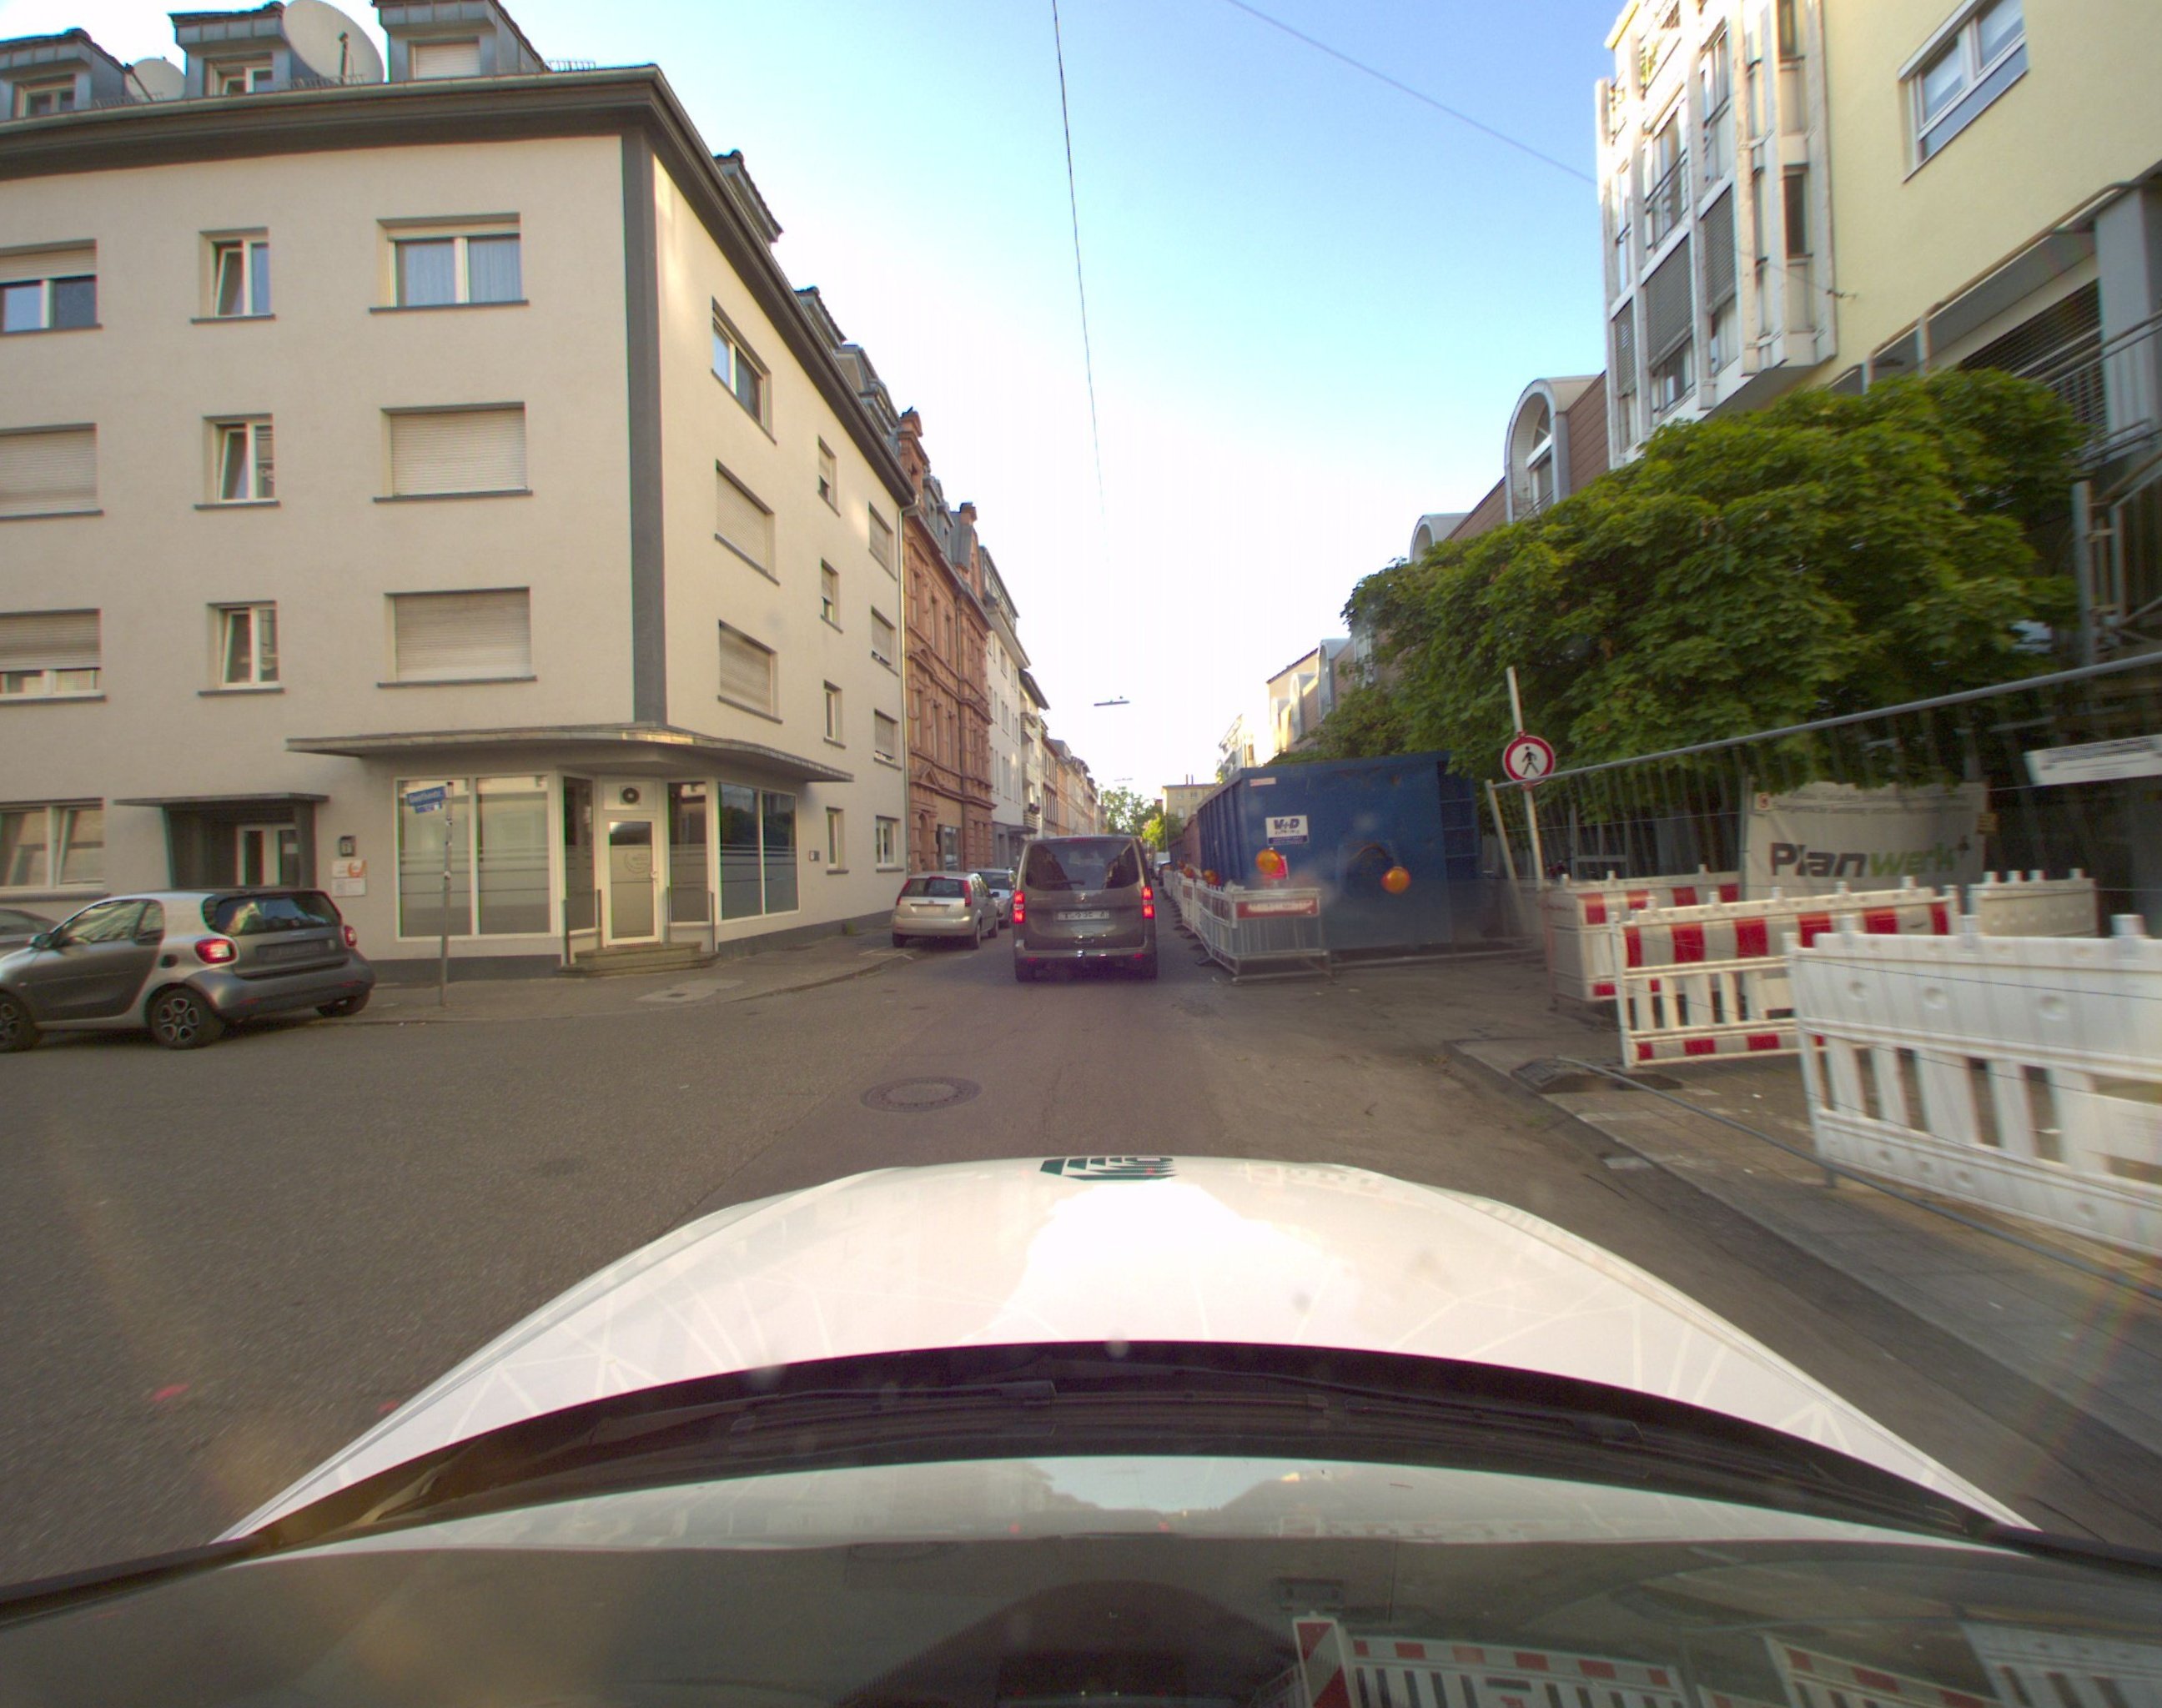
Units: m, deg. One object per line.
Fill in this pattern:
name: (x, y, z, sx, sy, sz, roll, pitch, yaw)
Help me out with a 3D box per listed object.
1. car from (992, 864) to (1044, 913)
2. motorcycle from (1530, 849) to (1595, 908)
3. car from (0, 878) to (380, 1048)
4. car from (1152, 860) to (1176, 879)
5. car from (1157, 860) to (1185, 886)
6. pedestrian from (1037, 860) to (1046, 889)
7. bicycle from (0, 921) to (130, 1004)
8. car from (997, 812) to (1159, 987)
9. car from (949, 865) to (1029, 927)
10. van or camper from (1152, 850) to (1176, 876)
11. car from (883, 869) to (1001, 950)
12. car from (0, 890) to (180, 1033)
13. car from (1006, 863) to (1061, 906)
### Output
car: (-2.168, 1.166, 28.638, 1.390, 1.588, 2.796, -1, -1, 3)
motorcycle: (10.935, 0.540, 18.569, 0.862, 1.222, 2.470, -3, -2, 22)
car: (-9.542, 1.086, 8.678, 2.742, 1.566, 1.650, -1, -1, 4)
car: (7.351, 1.380, 72.148, 1.716, 1.612, 4.589, -2, -1, 1)
car: (6.070, 1.245, 54.933, 1.740, 1.683, 4.533, -1, -1, 6)
pedestrian: (-2.294, 1.187, 47.342, 0.493, 1.638, 0.666, 0, -1, 4)
bicycle: (-14.941, 1.545, 11.686, 2.043, 1.137, 0.489, 0, -1, 1)
car: (0.082, 0.566, 11.905, 1.850, 2.013, 4.003, -4, -1, 3)
car: (-2.424, 1.073, 22.266, 1.549, 1.508, 3.600, 1, -1, 3)
van or camper: (8.932, 1.009, 88.183, 2.091, 2.602, 7.516, -3, -1, 2)
car: (-2.724, 1.048, 16.679, 1.625, 1.430, 3.557, -1, -1, 3)
car: (-13.453, 1.213, 9.306, 4.231, 1.453, 1.970, -1, -1, 3)
car: (-1.842, 1.166, 32.782, 1.733, 1.599, 4.018, -1, -1, 3)
